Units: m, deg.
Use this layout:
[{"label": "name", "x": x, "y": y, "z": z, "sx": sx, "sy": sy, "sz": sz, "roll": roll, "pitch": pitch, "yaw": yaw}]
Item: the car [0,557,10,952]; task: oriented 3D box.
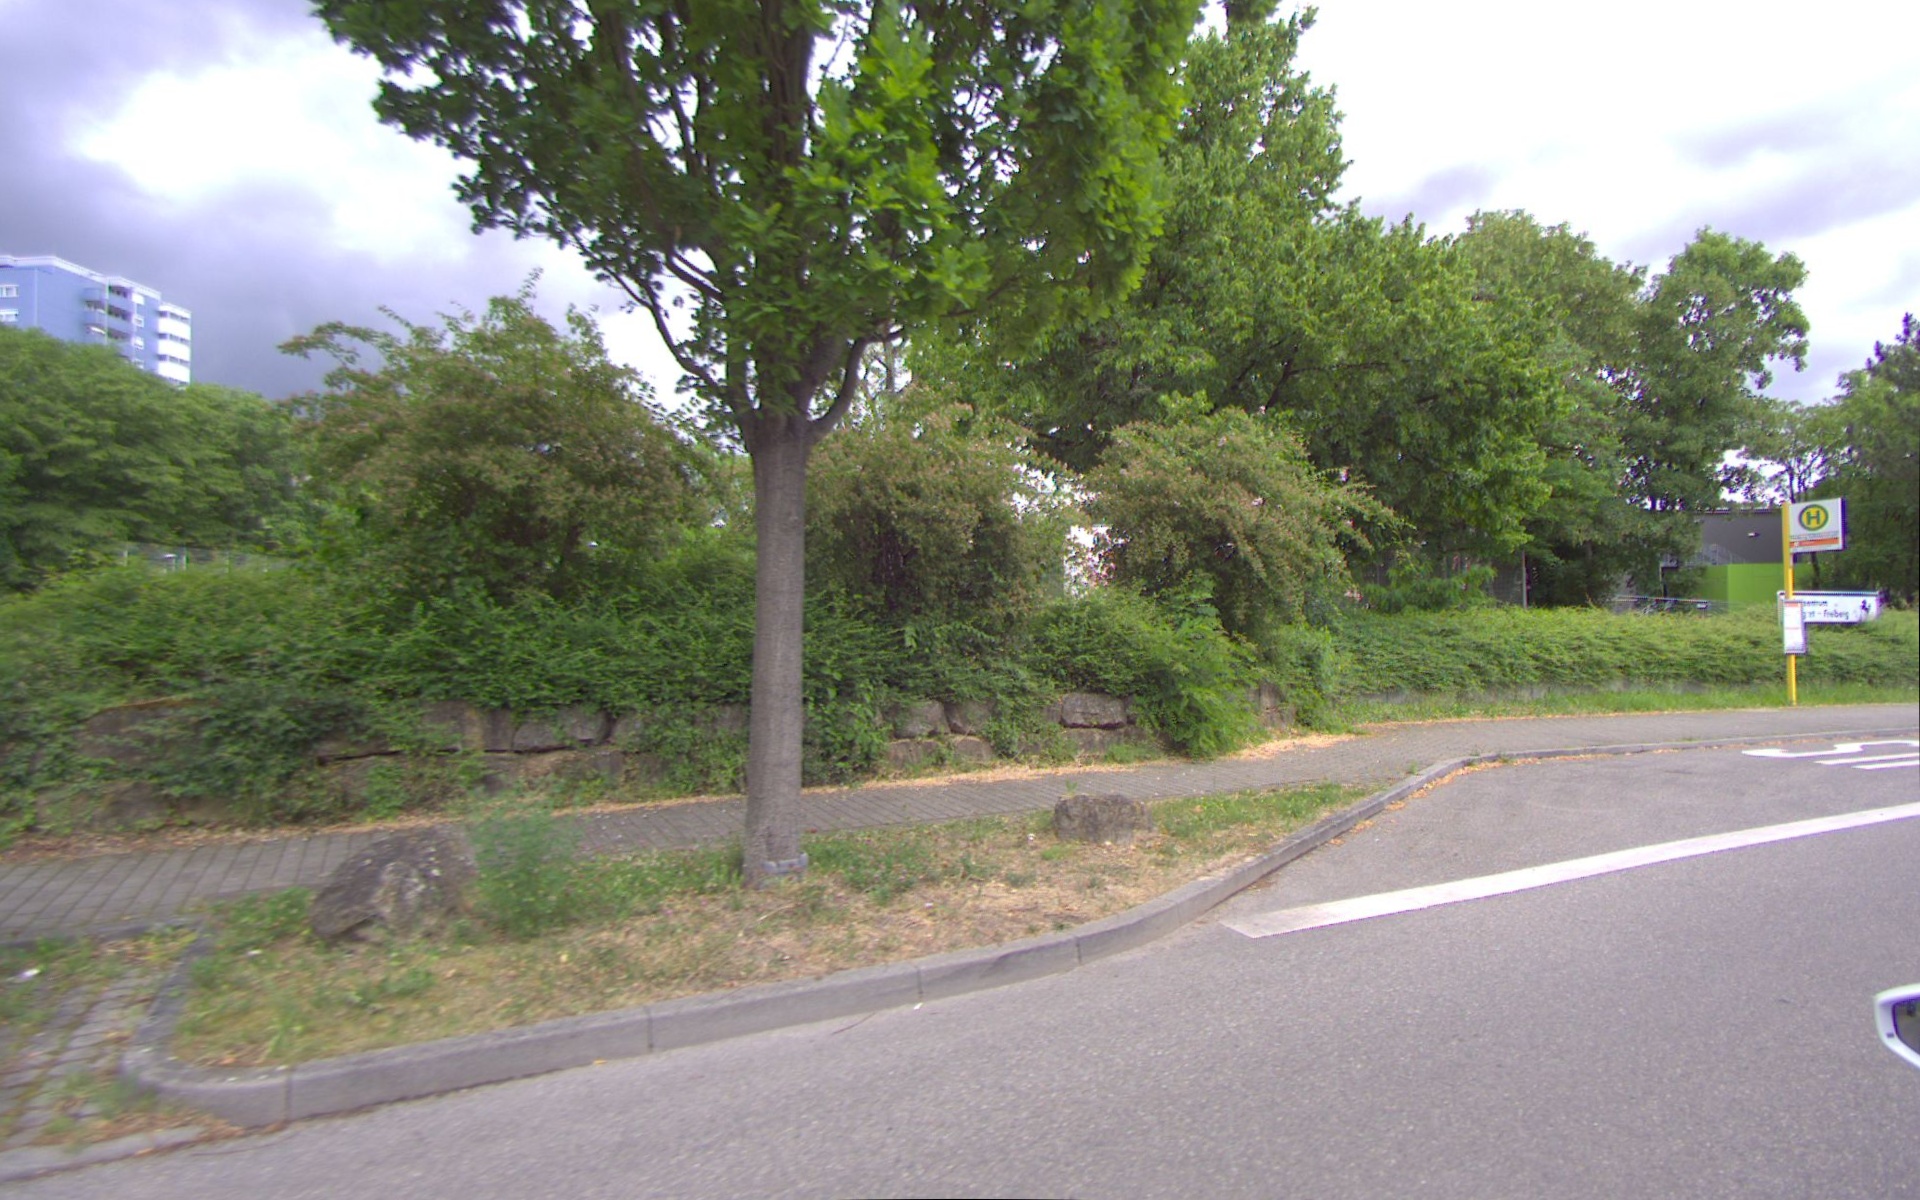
[{"label": "car", "x": -5.098, "y": 0.541, "z": 1.832, "sx": 4.587, "sy": 1.511, "sz": 1.837, "roll": 1, "pitch": -1, "yaw": -34}]
